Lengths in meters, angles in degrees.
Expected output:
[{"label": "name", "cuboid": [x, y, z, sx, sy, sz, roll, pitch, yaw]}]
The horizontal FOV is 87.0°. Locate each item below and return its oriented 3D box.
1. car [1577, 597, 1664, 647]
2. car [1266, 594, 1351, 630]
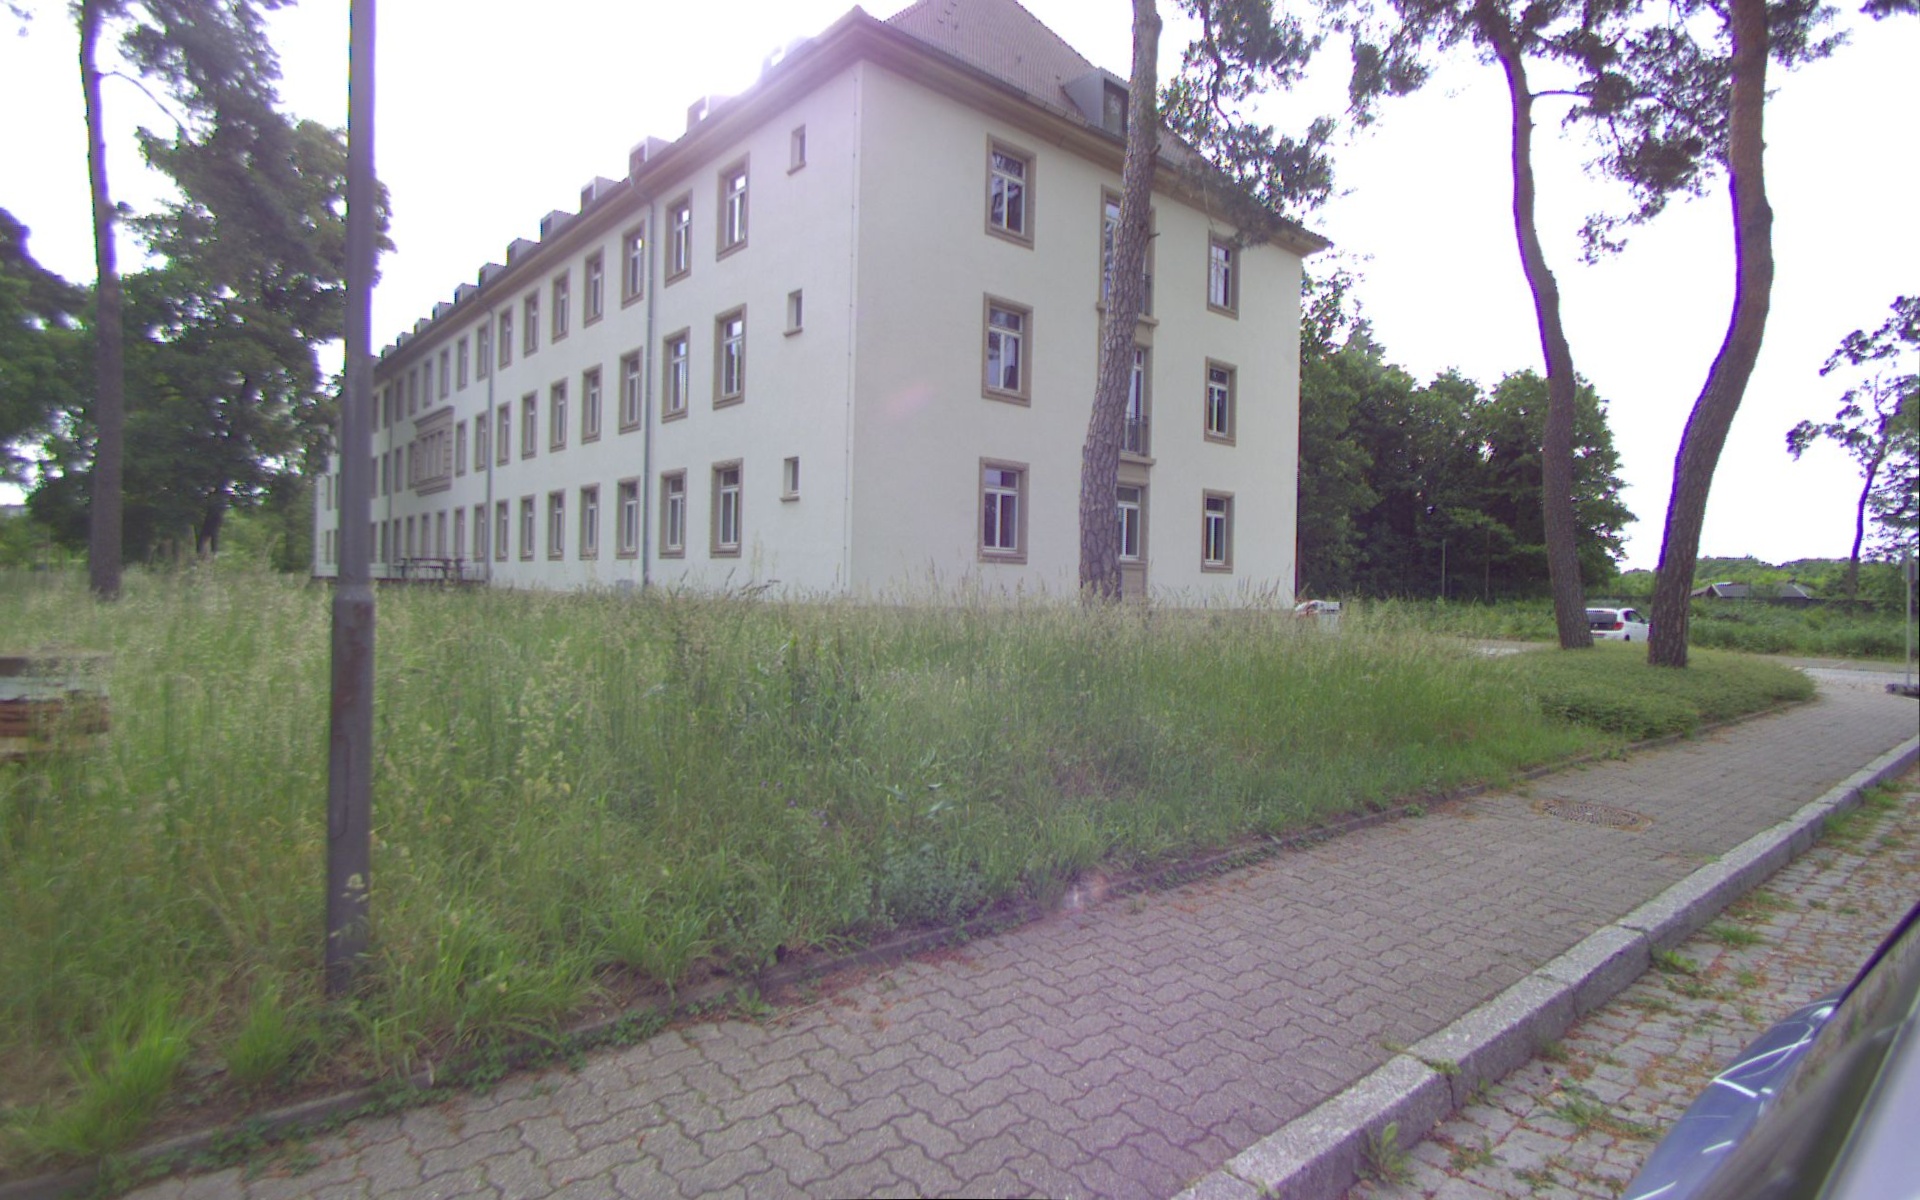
[{"label": "car", "cuboid": [22.143, 0.698, 33.899, 3.221, 1.452, 1.640, -2, 3, -41]}, {"label": "car", "cuboid": [14.584, 0.469, 42.292, 3.931, 1.345, 1.640, -2, 2, -41]}]
